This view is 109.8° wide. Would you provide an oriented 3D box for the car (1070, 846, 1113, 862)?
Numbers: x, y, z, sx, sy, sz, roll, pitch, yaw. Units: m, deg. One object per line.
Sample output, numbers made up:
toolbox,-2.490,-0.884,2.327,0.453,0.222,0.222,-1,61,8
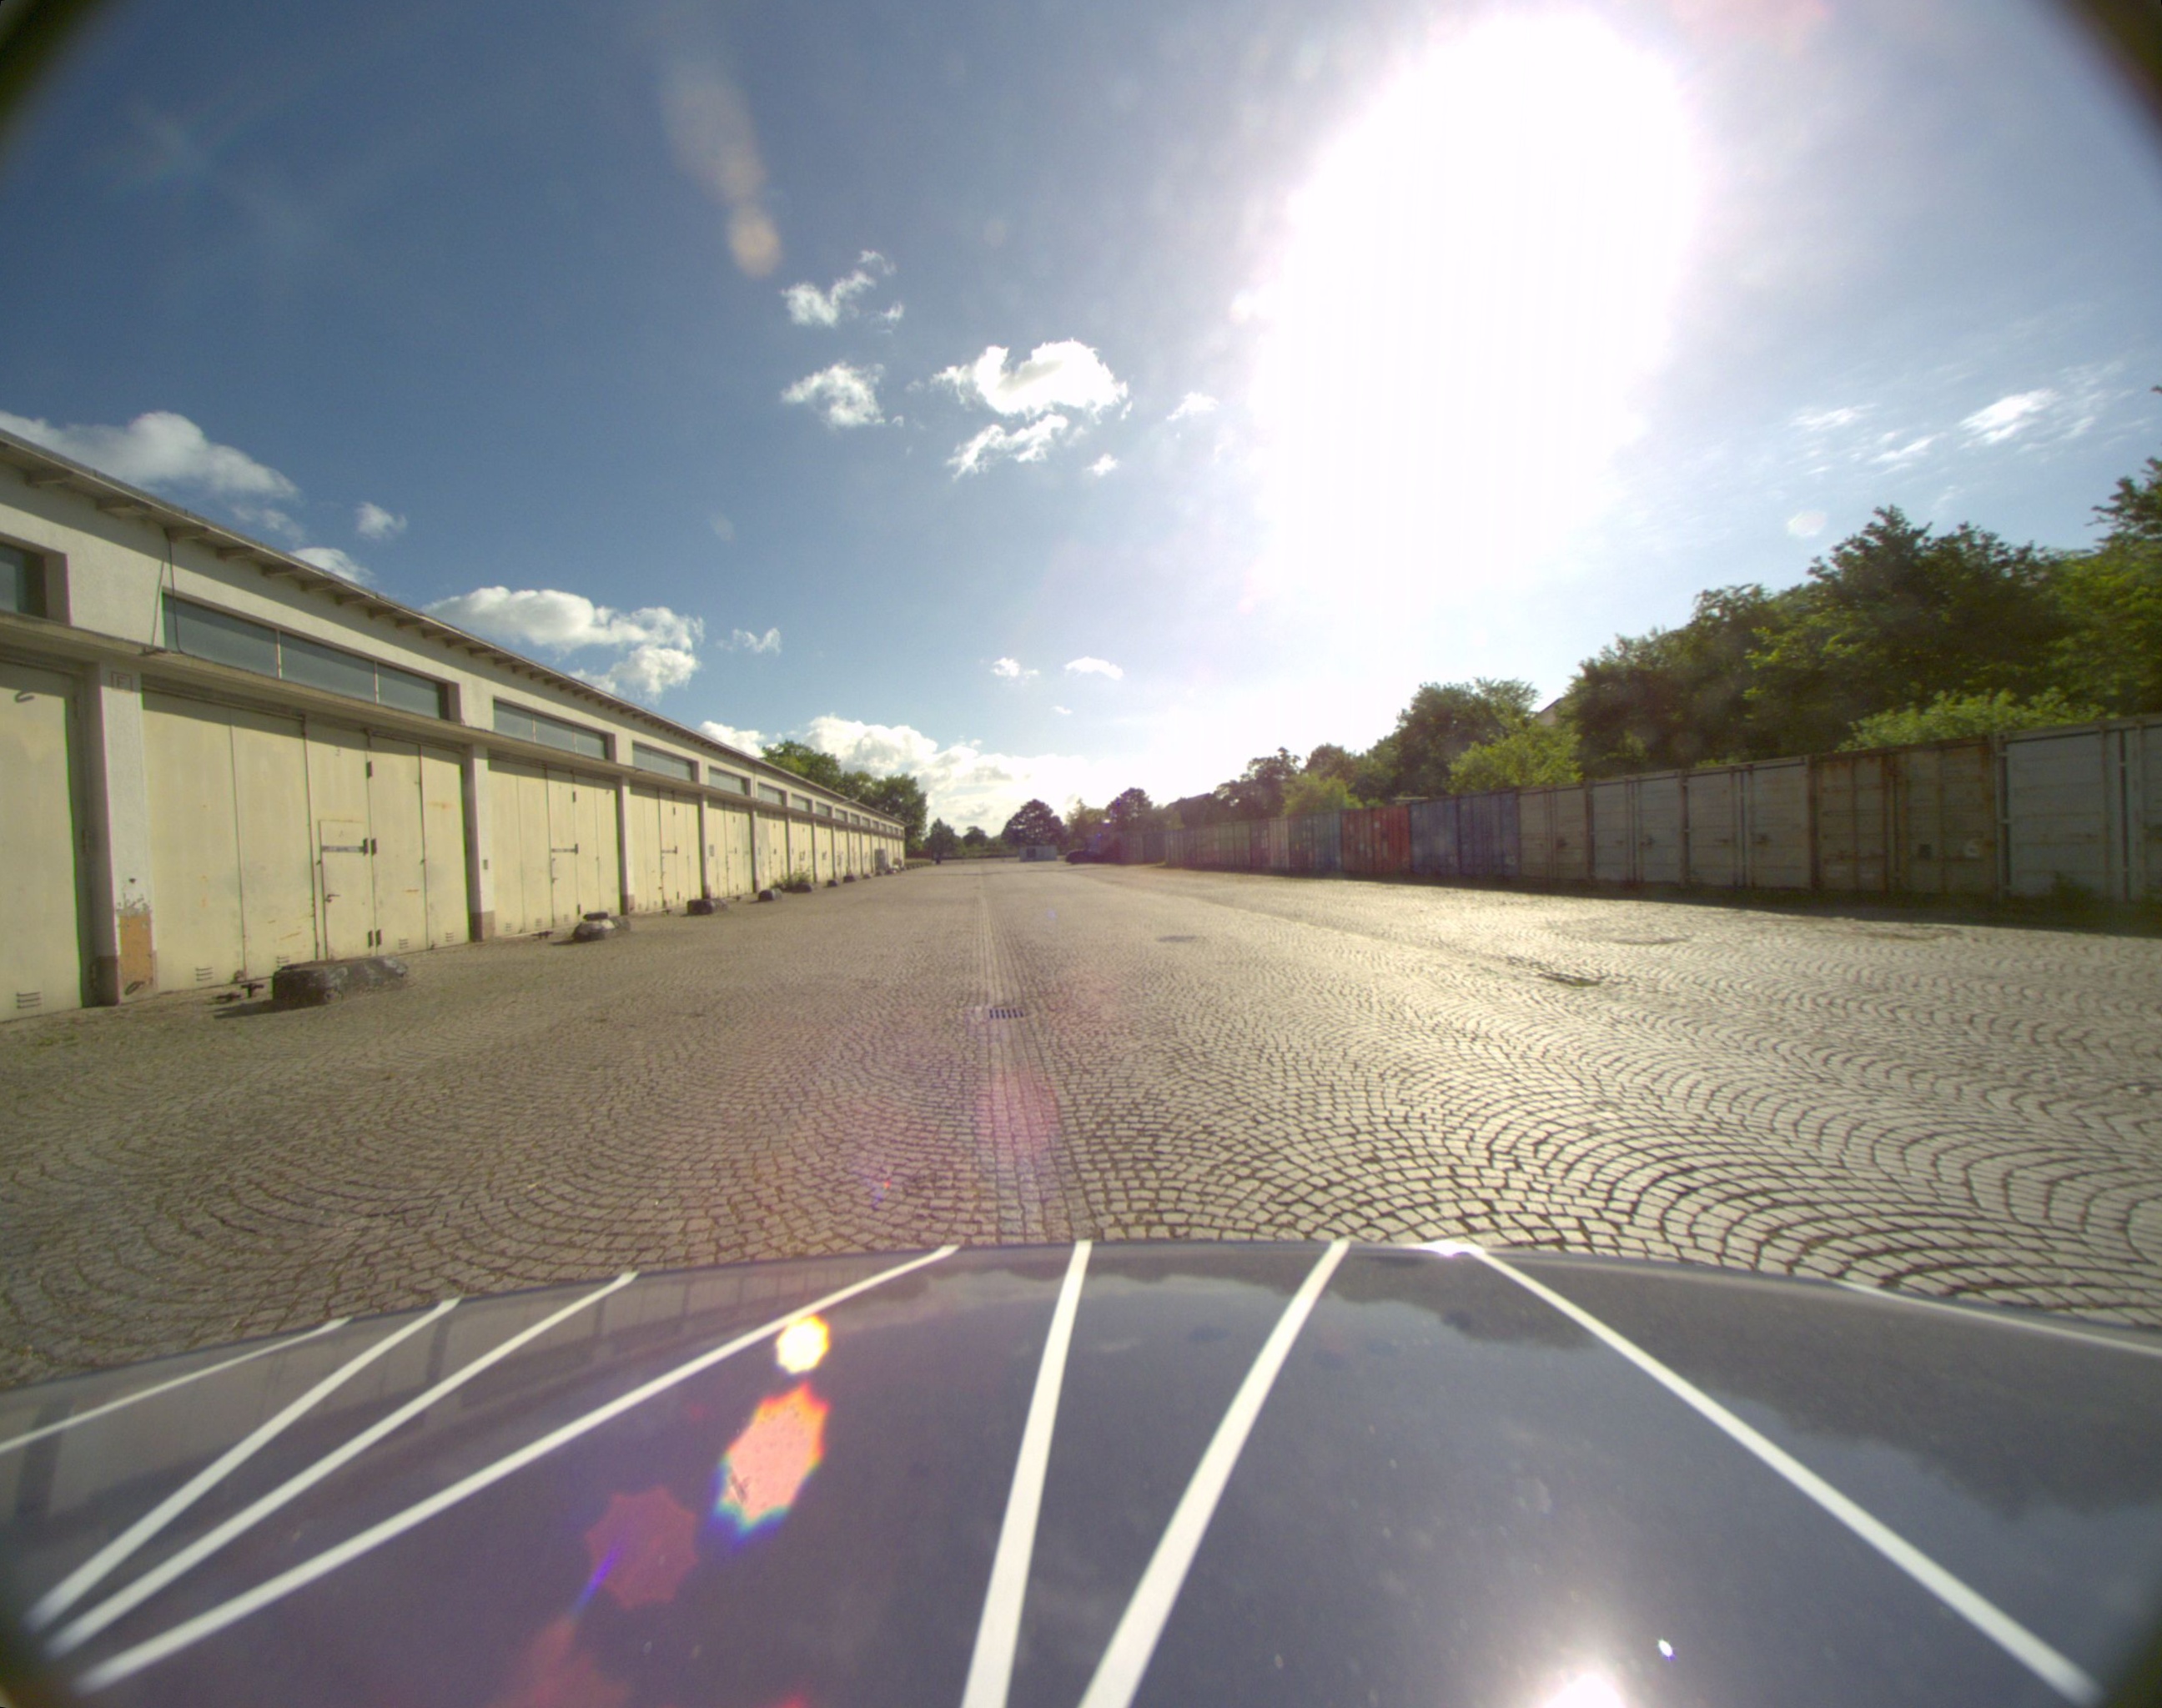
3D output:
car,1.097,0.006,78.590,4.115,1.289,1.998,-4,1,-10
